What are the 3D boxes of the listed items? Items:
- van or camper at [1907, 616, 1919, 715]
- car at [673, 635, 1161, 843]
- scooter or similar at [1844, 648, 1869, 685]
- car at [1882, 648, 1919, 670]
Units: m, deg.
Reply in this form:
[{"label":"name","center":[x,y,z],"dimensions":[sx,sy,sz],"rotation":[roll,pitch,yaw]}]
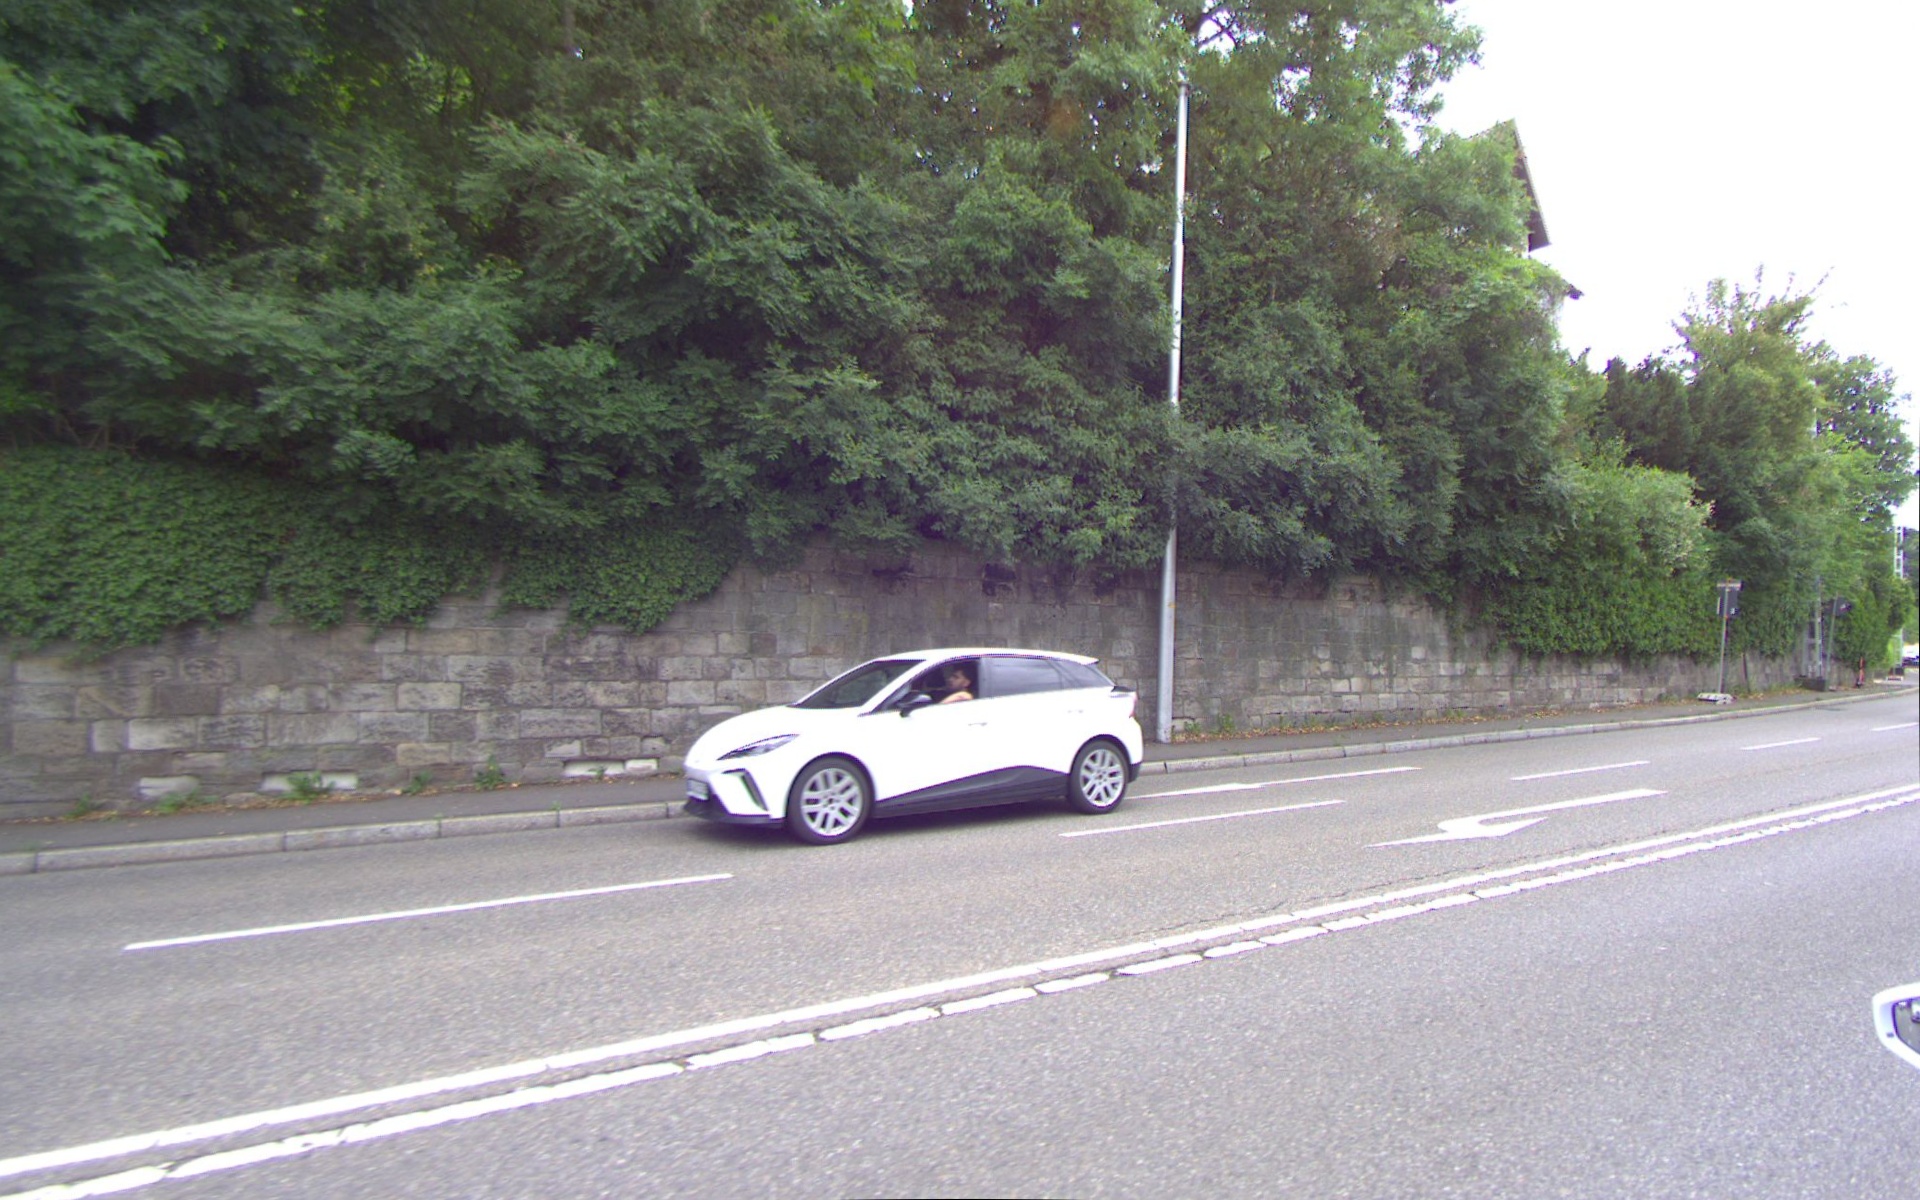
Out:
[{"label":"van or camper","center":[20.834,1.311,20.145],"dimensions":[4.721,1.902,1.876],"rotation":[2,-4,-37]},{"label":"car","center":[-0.314,1.117,9.058],"dimensions":[4.056,1.485,1.774],"rotation":[2,-5,-32]},{"label":"scooter or similar","center":[31.021,2.279,34.743],"dimensions":[1.271,1.221,0.532],"rotation":[2,0,-45]},{"label":"car","center":[62.990,3.923,66.893],"dimensions":[1.872,1.400,3.986],"rotation":[-2,-4,37]}]
